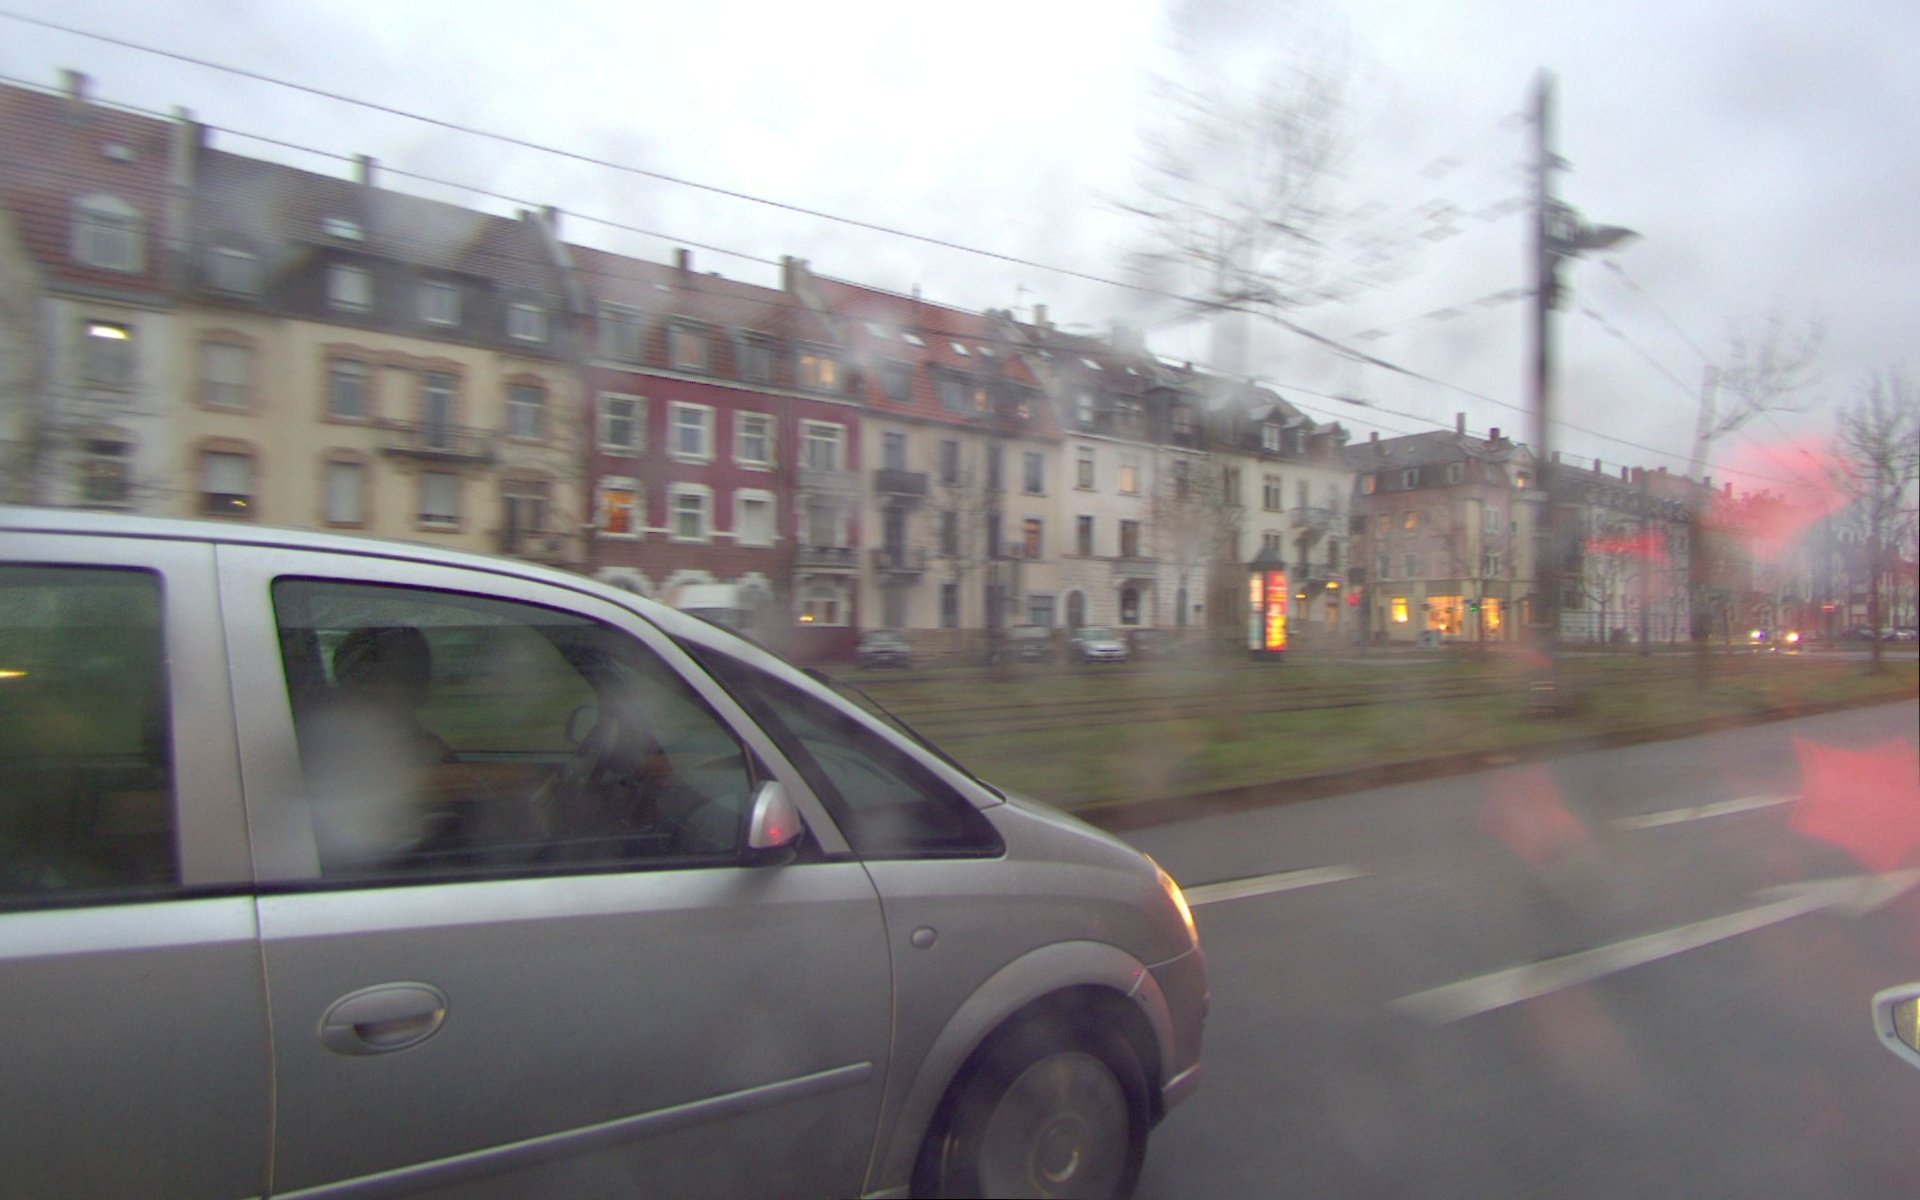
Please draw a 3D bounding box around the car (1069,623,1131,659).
[{"bbox_3d":[5.390,1.582,39.253,1.960,1.349,4.001,0,-2,1],"label":"car"}]

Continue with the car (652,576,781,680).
[{"bbox_3d":[-7.176,0.857,30.404,1.960,2.834,5.871,0,-2,6],"label":"car"}]

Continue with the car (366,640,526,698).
[{"bbox_3d":[-13.065,1.715,25.834,1.960,1.349,4.001,0,-2,1],"label":"car"}]

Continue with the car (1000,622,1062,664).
[{"bbox_3d":[2.619,1.600,37.856,1.961,1.505,4.000,0,-2,-2],"label":"car"}]

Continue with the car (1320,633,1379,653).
[{"bbox_3d":[31.262,3.450,80.696,1.985,1.439,3.952,1,-1,-41],"label":"car"}]

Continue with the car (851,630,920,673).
[{"bbox_3d":[-2.456,1.708,34.076,1.960,1.349,4.001,0,-2,1],"label":"car"}]

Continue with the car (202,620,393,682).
[{"bbox_3d":[-15.621,1.173,23.977,1.961,1.349,4.000,0,-2,-1],"label":"car"}]

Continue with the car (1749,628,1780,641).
[{"bbox_3d":[86.567,3.668,108.077,3.524,1.372,1.763,1,-2,-38],"label":"car"}]

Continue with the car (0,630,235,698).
[{"bbox_3d":[-18.443,1.350,22.168,1.961,1.349,4.000,0,-2,0],"label":"car"}]

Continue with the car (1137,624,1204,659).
[{"bbox_3d":[8.503,1.676,40.897,1.960,1.349,4.001,0,-2,1],"label":"car"}]

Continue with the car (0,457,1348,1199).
[{"bbox_3d":[-1.140,0.647,2.316,4.010,1.621,1.799,1,0,-33],"label":"car"}]

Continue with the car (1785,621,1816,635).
[{"bbox_3d":[87.698,2.903,104.754,3.524,1.372,1.763,1,-2,-38],"label":"car"}]
